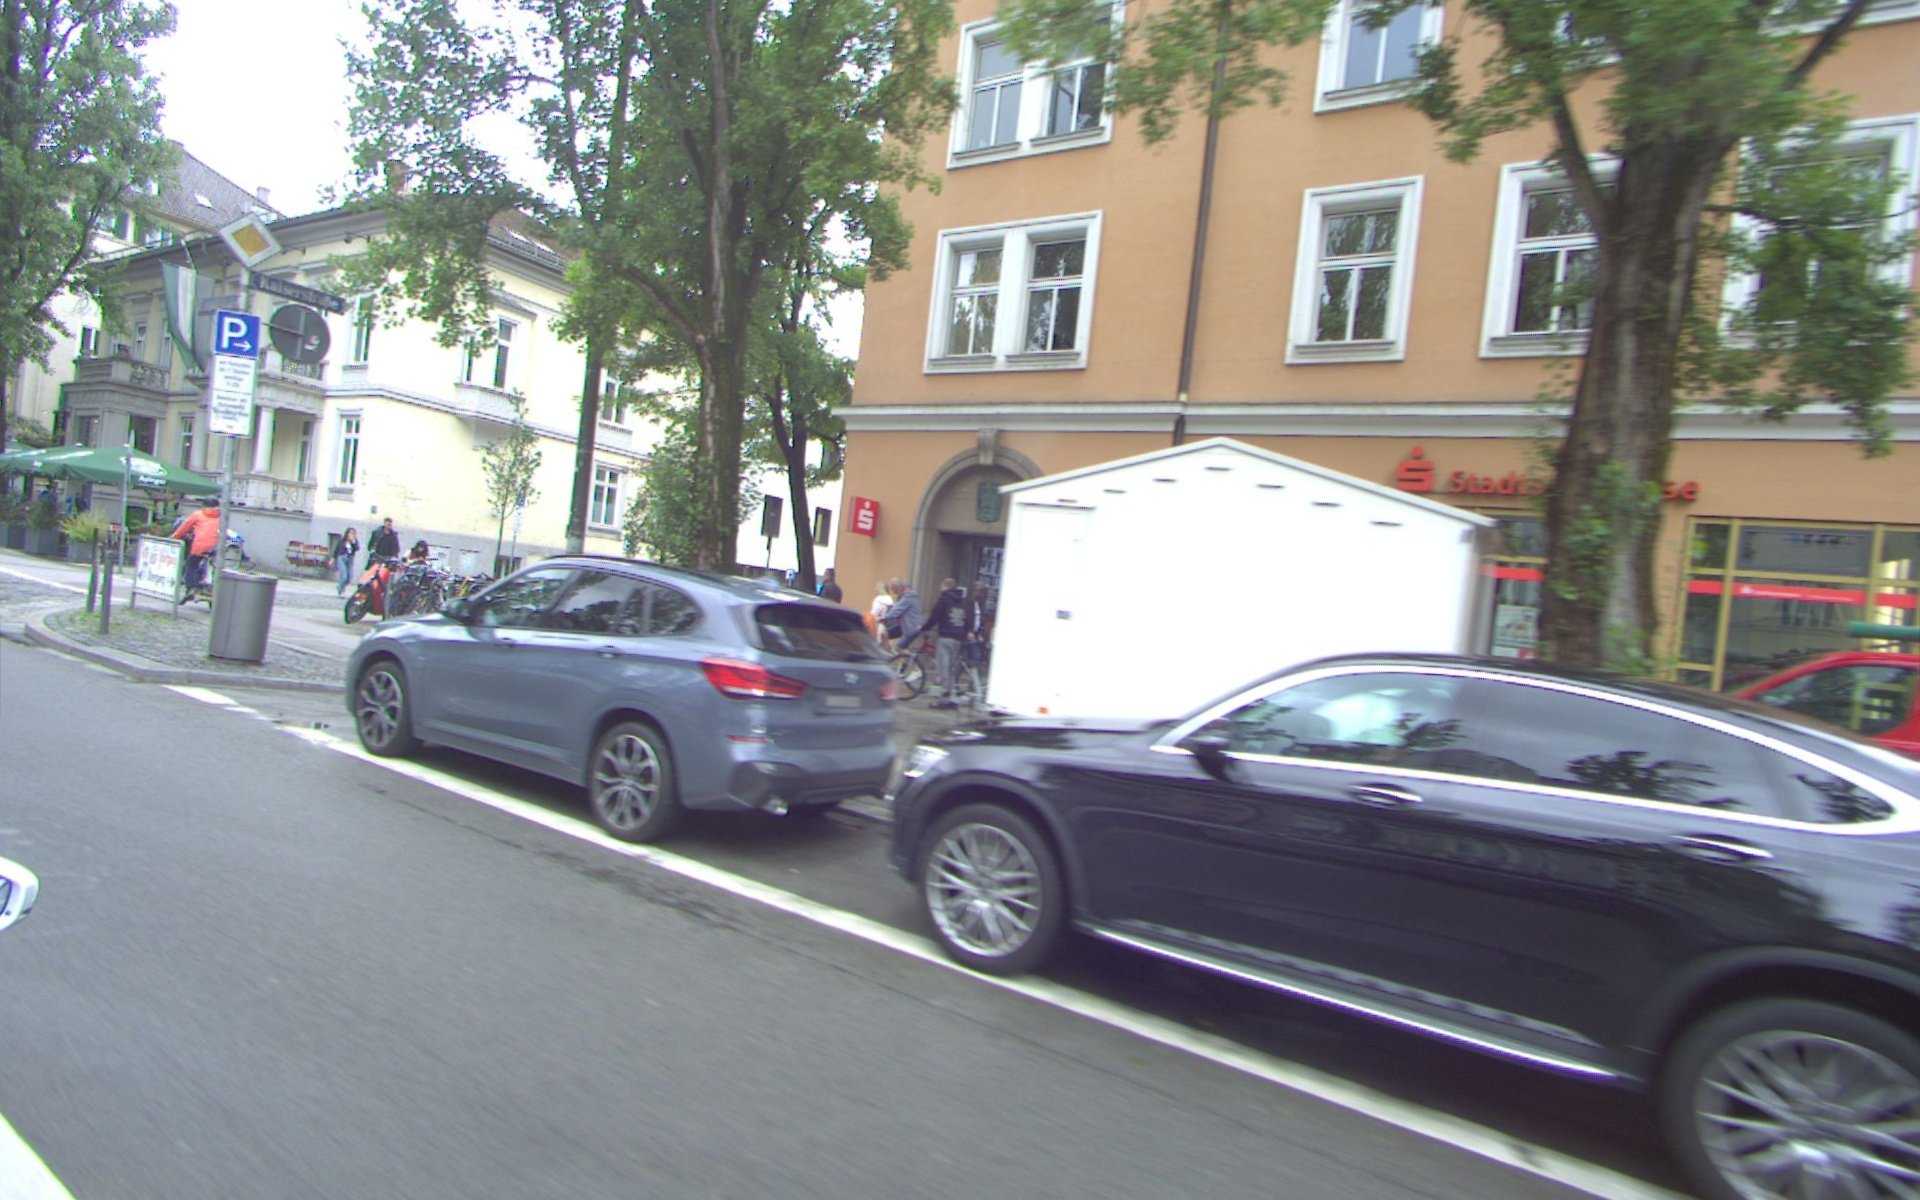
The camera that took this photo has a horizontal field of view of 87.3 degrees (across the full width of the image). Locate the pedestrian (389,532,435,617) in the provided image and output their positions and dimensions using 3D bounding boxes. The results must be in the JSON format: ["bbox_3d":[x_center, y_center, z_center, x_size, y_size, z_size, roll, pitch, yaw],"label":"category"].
[{"bbox_3d":[-11.349,-0.522,20.839,0.663,1.671,0.620,6,1,-31],"label":"pedestrian"}]

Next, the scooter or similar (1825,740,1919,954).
[{"bbox_3d":[6.463,1.641,6.291,1.457,1.249,0.523,7,3,45],"label":"scooter or similar"}]

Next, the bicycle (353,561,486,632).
[{"bbox_3d":[-8.966,-0.020,16.791,0.678,1.036,2.061,7,0,13],"label":"bicycle"}]

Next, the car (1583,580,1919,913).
[{"bbox_3d":[8.112,1.266,8.112,4.760,2.358,1.896,7,1,44],"label":"car"}]

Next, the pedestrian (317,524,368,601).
[{"bbox_3d":[-14.312,-0.874,23.313,0.755,1.666,0.647,6,-1,41],"label":"pedestrian"}]

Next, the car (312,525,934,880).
[{"bbox_3d":[-2.490,0.503,7.038,4.298,1.585,1.625,7,1,31],"label":"car"}]

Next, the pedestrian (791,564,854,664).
[{"bbox_3d":[-2.390,0.249,17.472,0.630,1.634,0.672,7,1,34],"label":"pedestrian"}]

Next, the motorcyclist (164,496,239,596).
[{"bbox_3d":[-11.619,-0.827,15.409,0.753,1.425,0.565,7,2,28],"label":"motorcyclist"}]

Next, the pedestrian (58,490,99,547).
[{"bbox_3d":[-30.968,-2.869,35.333,0.727,1.877,0.761,7,1,29],"label":"pedestrian"}]

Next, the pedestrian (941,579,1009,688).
[{"bbox_3d":[0.258,0.569,16.948,0.716,1.743,0.687,7,1,31],"label":"pedestrian"}]

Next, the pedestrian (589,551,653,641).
[{"bbox_3d":[-6.607,-0.068,19.599,0.763,1.648,0.687,7,1,29],"label":"pedestrian"}]

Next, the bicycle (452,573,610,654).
[{"bbox_3d":[-6.486,0.228,15.317,0.681,1.036,2.052,7,0,39],"label":"bicycle"}]

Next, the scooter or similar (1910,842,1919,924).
[{"bbox_3d":[7.395,1.735,6.905,0.484,1.249,1.152,3,3,-45],"label":"scooter or similar"}]

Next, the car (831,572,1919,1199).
[{"bbox_3d":[1.861,0.979,4.317,4.507,1.662,1.882,7,1,32],"label":"car"}]

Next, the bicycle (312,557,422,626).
[{"bbox_3d":[-10.068,-0.139,17.188,0.678,1.036,2.059,7,0,-4],"label":"bicycle"}]

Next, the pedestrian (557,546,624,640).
[{"bbox_3d":[-6.908,-0.131,18.802,0.763,1.648,0.687,7,1,29],"label":"pedestrian"}]

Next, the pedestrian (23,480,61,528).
[{"bbox_3d":[-37.036,-3.855,40.602,0.805,1.778,0.927,5,2,-26],"label":"pedestrian"}]

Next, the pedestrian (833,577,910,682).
[{"bbox_3d":[-1.465,0.496,16.717,0.766,1.634,0.821,7,1,34],"label":"pedestrian"}]

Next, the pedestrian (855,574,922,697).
[{"bbox_3d":[-1.111,0.538,15.549,0.756,1.795,0.562,6,1,-15],"label":"pedestrian"}]

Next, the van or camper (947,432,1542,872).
[{"bbox_3d":[2.627,0.245,9.557,4.638,3.152,2.461,7,1,33],"label":"van or camper"}]

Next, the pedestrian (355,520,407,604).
[{"bbox_3d":[-13.836,-0.907,24.027,0.755,1.895,0.700,6,-1,41],"label":"pedestrian"}]

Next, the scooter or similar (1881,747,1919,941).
[{"bbox_3d":[6.981,1.711,6.500,1.388,1.249,0.484,7,3,45],"label":"scooter or similar"}]

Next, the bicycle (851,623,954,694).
[{"bbox_3d":[-0.858,0.898,15.262,1.499,0.939,0.348,7,1,-34],"label":"bicycle"}]

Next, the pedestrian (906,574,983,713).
[{"bbox_3d":[-0.217,0.583,13.696,0.756,1.795,0.562,6,1,-15],"label":"pedestrian"}]

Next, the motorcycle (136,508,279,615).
[{"bbox_3d":[-11.555,-0.593,15.423,2.213,1.388,0.827,7,2,28],"label":"motorcycle"}]

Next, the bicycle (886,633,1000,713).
[{"bbox_3d":[-0.251,1.030,14.296,1.487,0.939,0.464,7,1,-6],"label":"bicycle"}]

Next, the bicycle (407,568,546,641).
[{"bbox_3d":[-7.857,0.102,16.466,0.678,1.036,2.060,7,0,21],"label":"bicycle"}]
